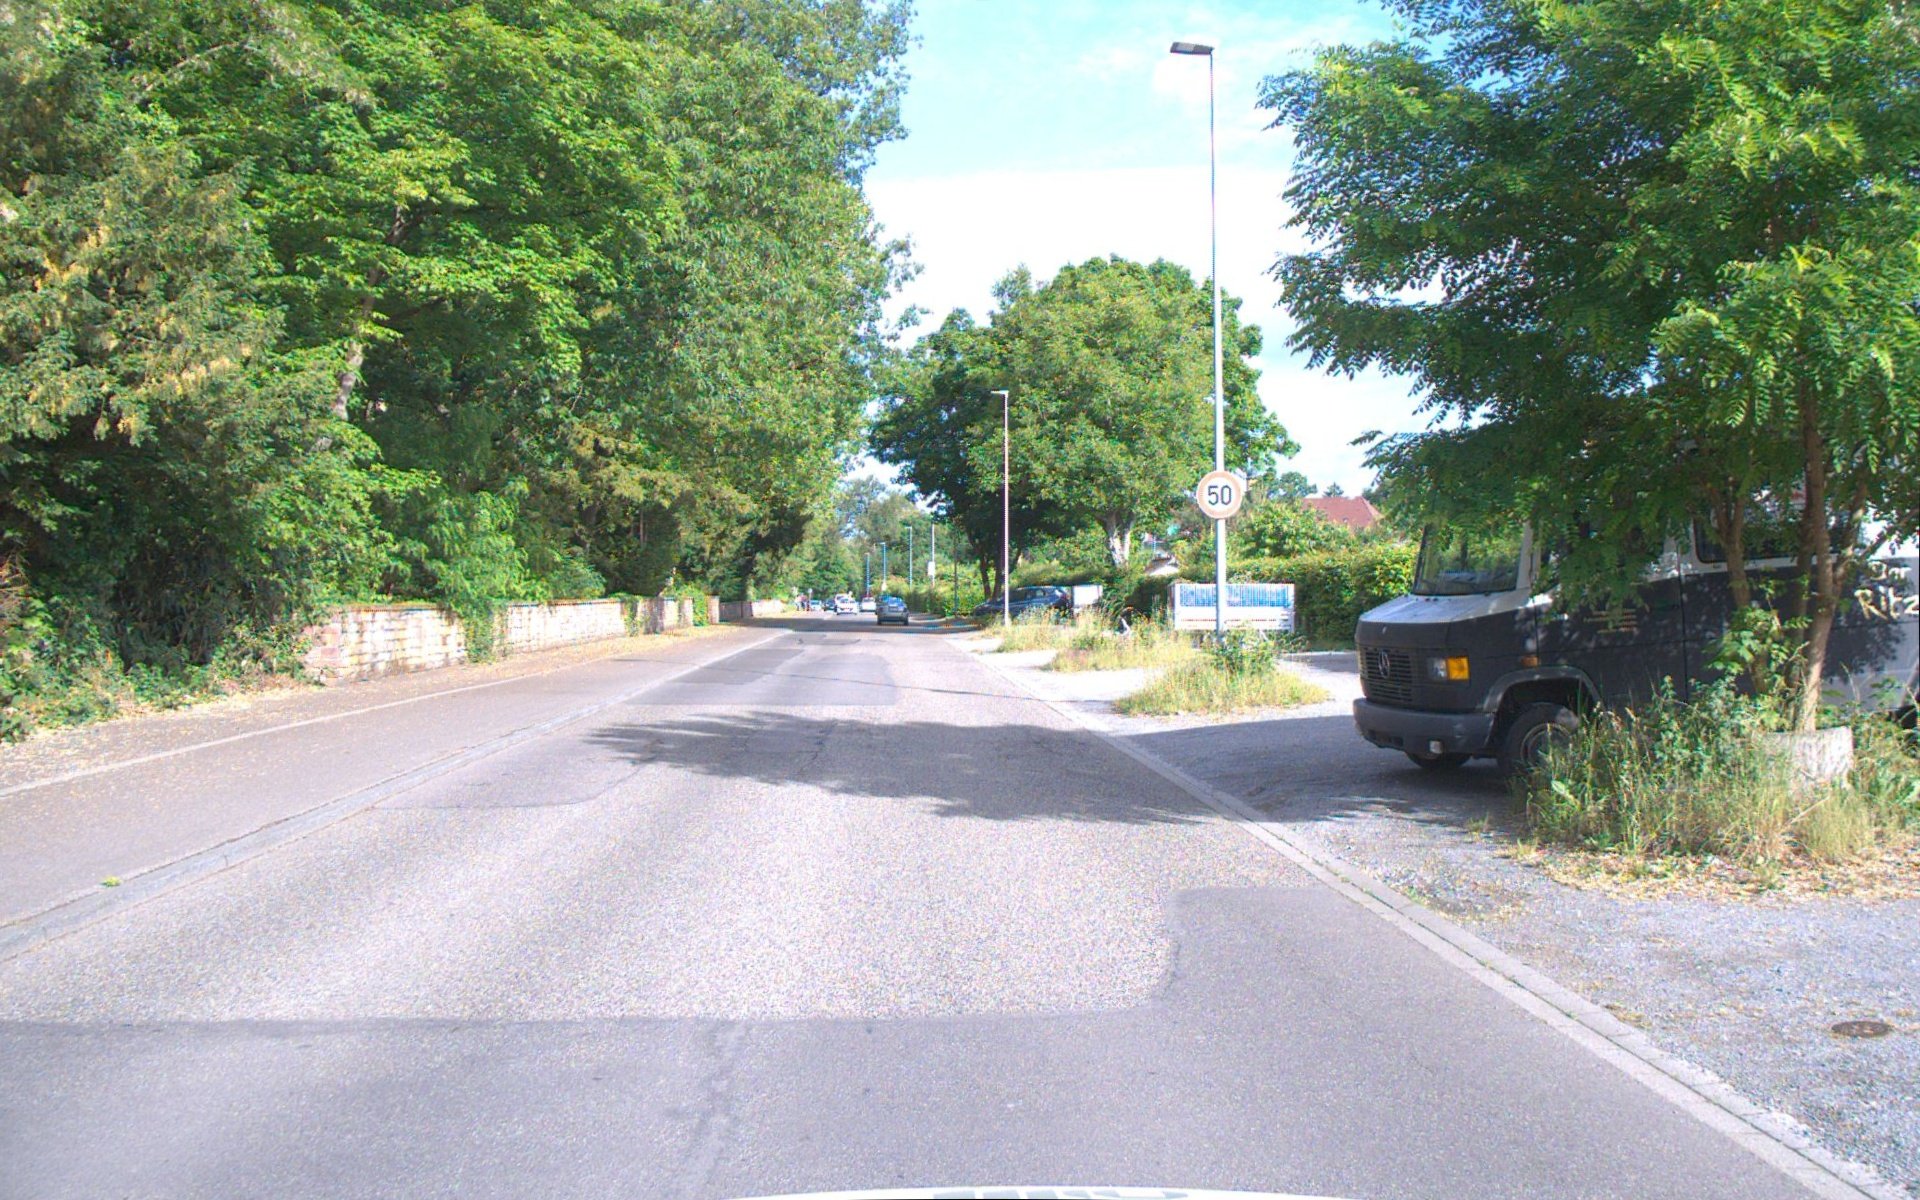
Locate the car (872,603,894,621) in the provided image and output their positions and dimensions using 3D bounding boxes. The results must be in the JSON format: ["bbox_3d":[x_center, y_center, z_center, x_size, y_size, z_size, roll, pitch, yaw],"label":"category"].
[{"bbox_3d":[-6.806,1.062,145.584,1.849,1.641,4.051,0,-1,-4],"label":"car"}]

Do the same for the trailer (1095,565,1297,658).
[{"bbox_3d":[5.026,0.258,35.604,4.066,1.867,1.916,-1,-1,1],"label":"trailer"}]

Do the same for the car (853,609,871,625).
[{"bbox_3d":[-10.189,1.734,171.253,1.849,1.641,4.051,0,-1,-4],"label":"car"}]

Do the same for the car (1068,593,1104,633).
[{"bbox_3d":[5.515,0.548,72.170,1.322,1.661,4.115,-3,0,7],"label":"car"}]

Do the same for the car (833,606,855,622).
[{"bbox_3d":[-10.009,1.206,142.451,1.850,1.396,4.049,0,-1,-5],"label":"car"}]

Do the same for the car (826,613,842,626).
[{"bbox_3d":[-15.306,2.354,200.660,1.849,1.641,4.051,0,-1,-4],"label":"car"}]

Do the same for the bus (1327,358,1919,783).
[{"bbox_3d":[5.627,-0.248,12.267,5.262,2.795,2.066,-1,0,-6],"label":"bus"}]

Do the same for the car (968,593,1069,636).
[{"bbox_3d":[2.598,0.654,73.907,4.315,1.675,1.999,-3,-1,-3],"label":"car"}]

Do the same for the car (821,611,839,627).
[{"bbox_3d":[-13.501,1.953,171.858,1.849,1.641,4.051,0,-1,-4],"label":"car"}]

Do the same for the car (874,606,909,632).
[{"bbox_3d":[-3.762,1.025,90.321,1.849,1.396,4.051,0,-1,-4],"label":"car"}]

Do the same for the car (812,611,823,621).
[{"bbox_3d":[-20.600,2.328,239.742,1.546,1.477,3.395,-1,0,-5],"label":"car"}]
